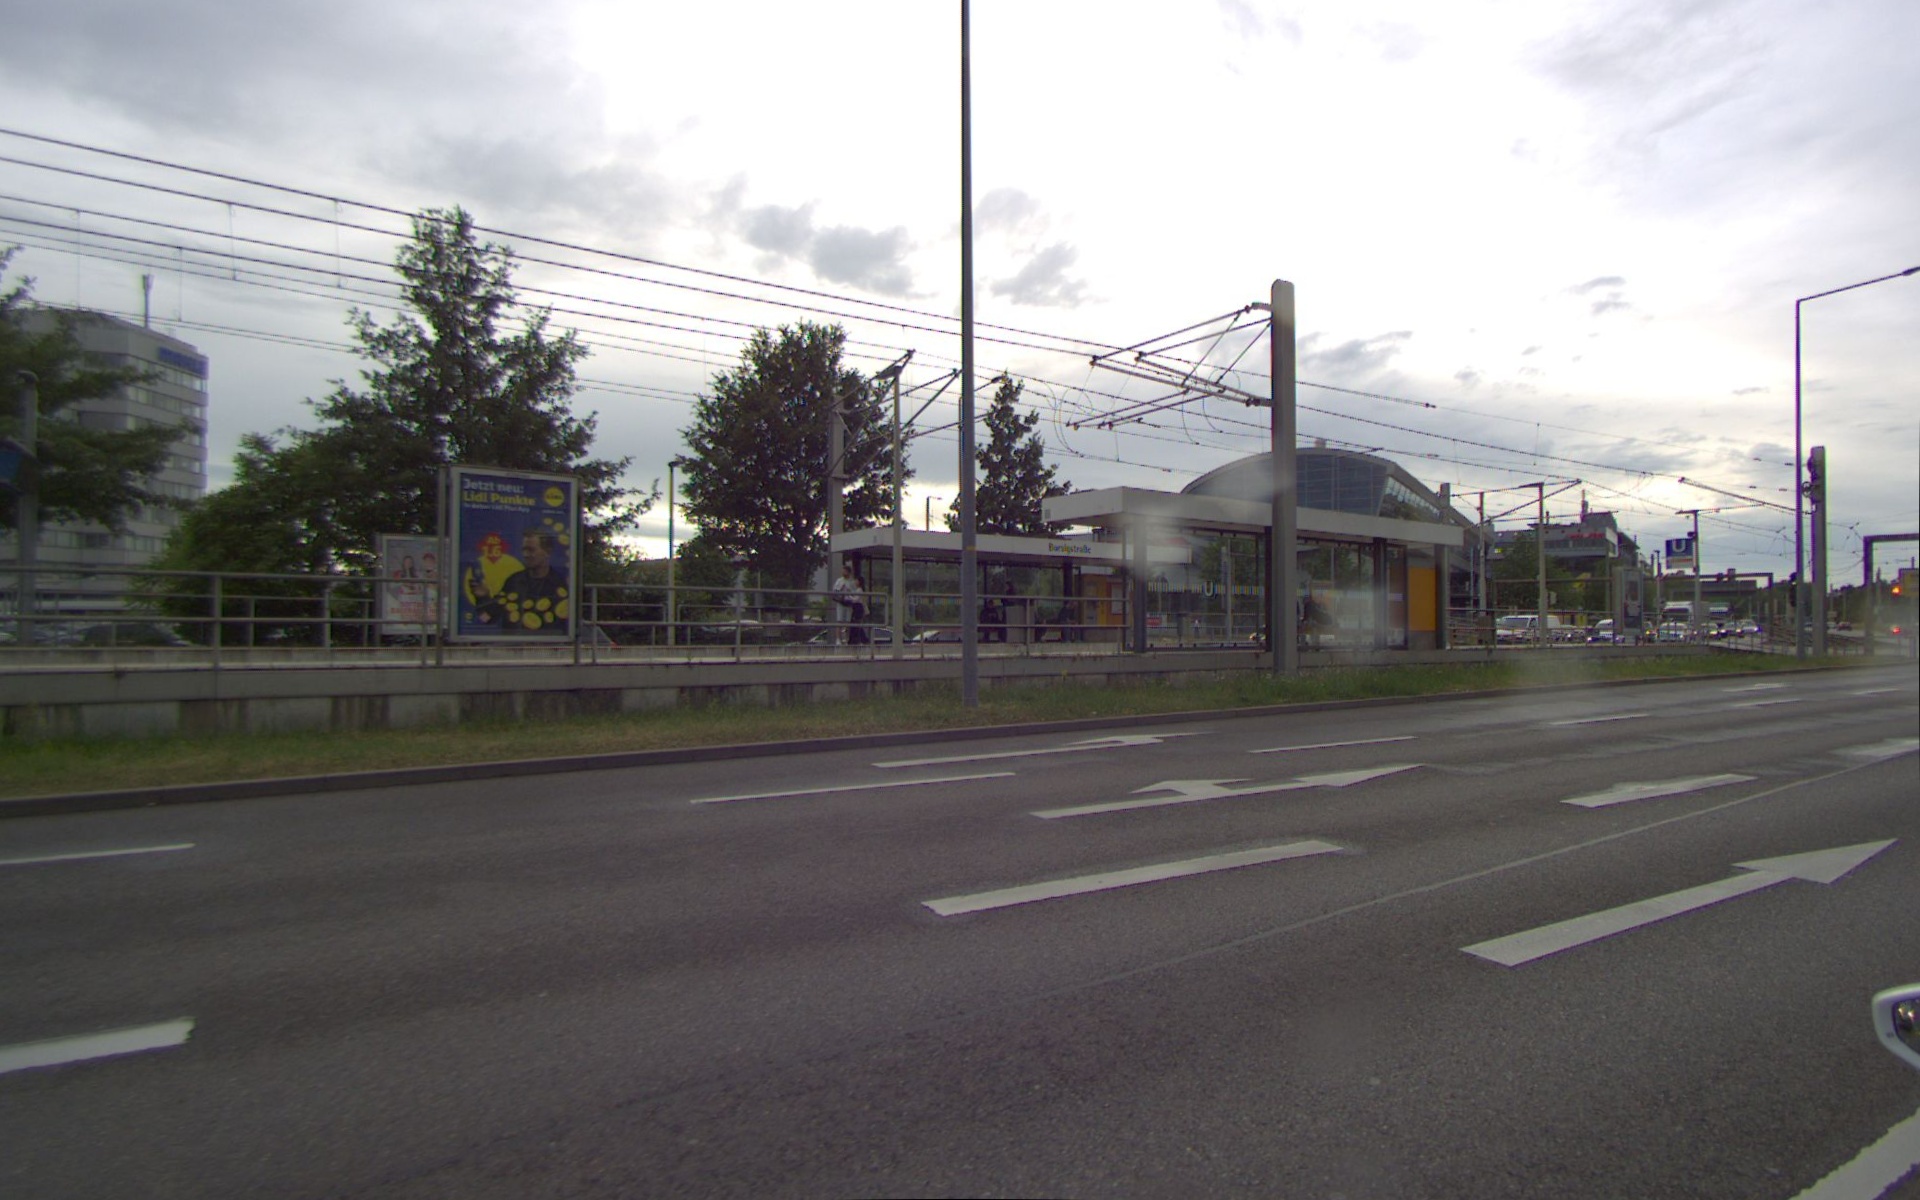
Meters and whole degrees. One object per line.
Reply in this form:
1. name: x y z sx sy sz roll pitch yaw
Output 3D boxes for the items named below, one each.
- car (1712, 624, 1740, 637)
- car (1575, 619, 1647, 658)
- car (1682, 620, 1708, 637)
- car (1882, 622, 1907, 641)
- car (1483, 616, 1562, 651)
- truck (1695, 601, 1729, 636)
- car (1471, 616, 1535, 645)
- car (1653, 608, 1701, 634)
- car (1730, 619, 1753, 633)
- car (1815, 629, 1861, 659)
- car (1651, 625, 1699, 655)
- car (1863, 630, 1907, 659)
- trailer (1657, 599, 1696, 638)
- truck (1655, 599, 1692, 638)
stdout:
1. car: 85.334 3.387 111.873 1.888 1.281 4.387 2 0 44
2. car: 39.675 2.356 61.215 5.095 2.244 1.979 2 0 -37
3. car: 71.863 2.797 98.148 1.718 1.481 4.132 2 0 40
4. car: 103.692 3.521 111.460 1.752 2.040 4.327 2 0 40
5. car: 30.254 1.800 53.994 4.988 1.754 1.977 2 0 -39
6. truck: 95.114 2.390 126.995 2.639 4.184 6.147 -1 -3 44
7. car: 35.809 2.021 66.197 4.626 1.722 2.088 2 0 -39
8. car: 51.723 1.530 72.422 4.228 1.688 1.517 2 0 -36
9. car: 97.846 3.231 125.708 1.867 1.674 4.071 2 0 44
10. car: 64.128 3.173 73.350 4.309 2.041 1.759 1 1 -39
11. car: 51.753 2.880 72.656 4.311 2.040 1.758 2 0 -40
12. car: 68.965 3.304 74.868 4.309 2.040 1.759 1 1 -39
13. trailer: 79.682 2.096 111.573 2.761 4.161 11.391 -1 -2 39
14. truck: 76.600 2.038 107.758 2.798 4.049 5.959 -1 -2 40
